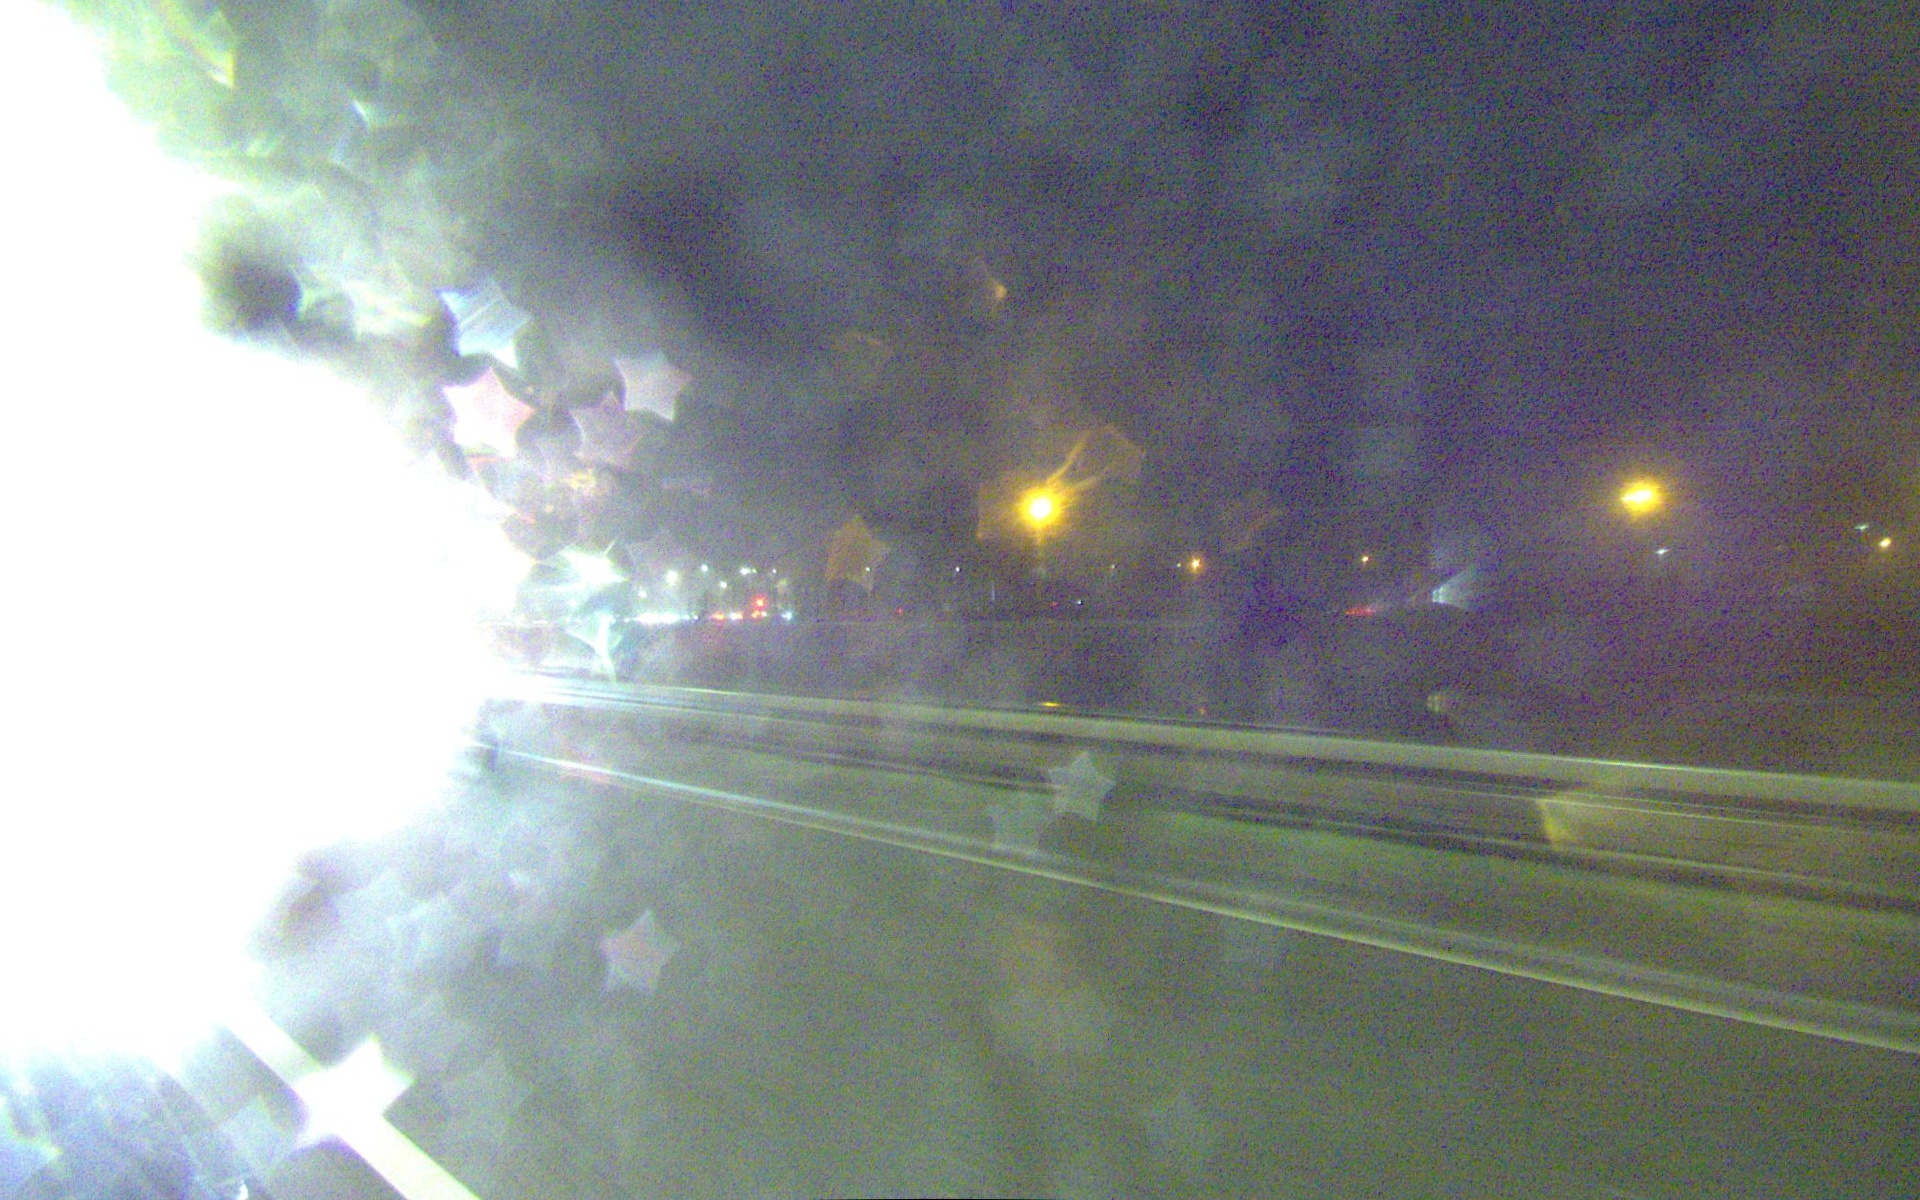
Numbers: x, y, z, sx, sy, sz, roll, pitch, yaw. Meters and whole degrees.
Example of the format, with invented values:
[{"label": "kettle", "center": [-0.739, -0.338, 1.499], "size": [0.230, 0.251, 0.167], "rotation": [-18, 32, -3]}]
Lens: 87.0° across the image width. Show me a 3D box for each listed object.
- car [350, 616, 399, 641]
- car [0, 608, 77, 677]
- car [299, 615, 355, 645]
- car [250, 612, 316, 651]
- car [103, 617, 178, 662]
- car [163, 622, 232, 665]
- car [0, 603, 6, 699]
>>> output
[{"label": "car", "center": [-47.264, 2.303, 81.802], "size": [2.341, 1.950, 4.428], "rotation": [0, -1, -14]}, {"label": "car", "center": [-28.503, 1.277, 30.802], "size": [1.967, 1.949, 4.010], "rotation": [0, -2, -34]}, {"label": "car", "center": [-43.884, 2.068, 70.289], "size": [2.340, 1.950, 4.430], "rotation": [0, -1, -19]}, {"label": "car", "center": [-39.183, 1.819, 58.691], "size": [2.340, 2.107, 4.431], "rotation": [0, -1, -23]}, {"label": "car", "center": [-37.772, 1.801, 46.752], "size": [1.965, 1.949, 4.012], "rotation": [0, -1, -28]}, {"label": "car", "center": [-28.527, 1.615, 37.855], "size": [1.968, 1.495, 4.008], "rotation": [0, -2, -37]}, {"label": "car", "center": [-18.924, 0.964, 18.437], "size": [1.907, 1.887, 4.007], "rotation": [0, -2, -39]}]
